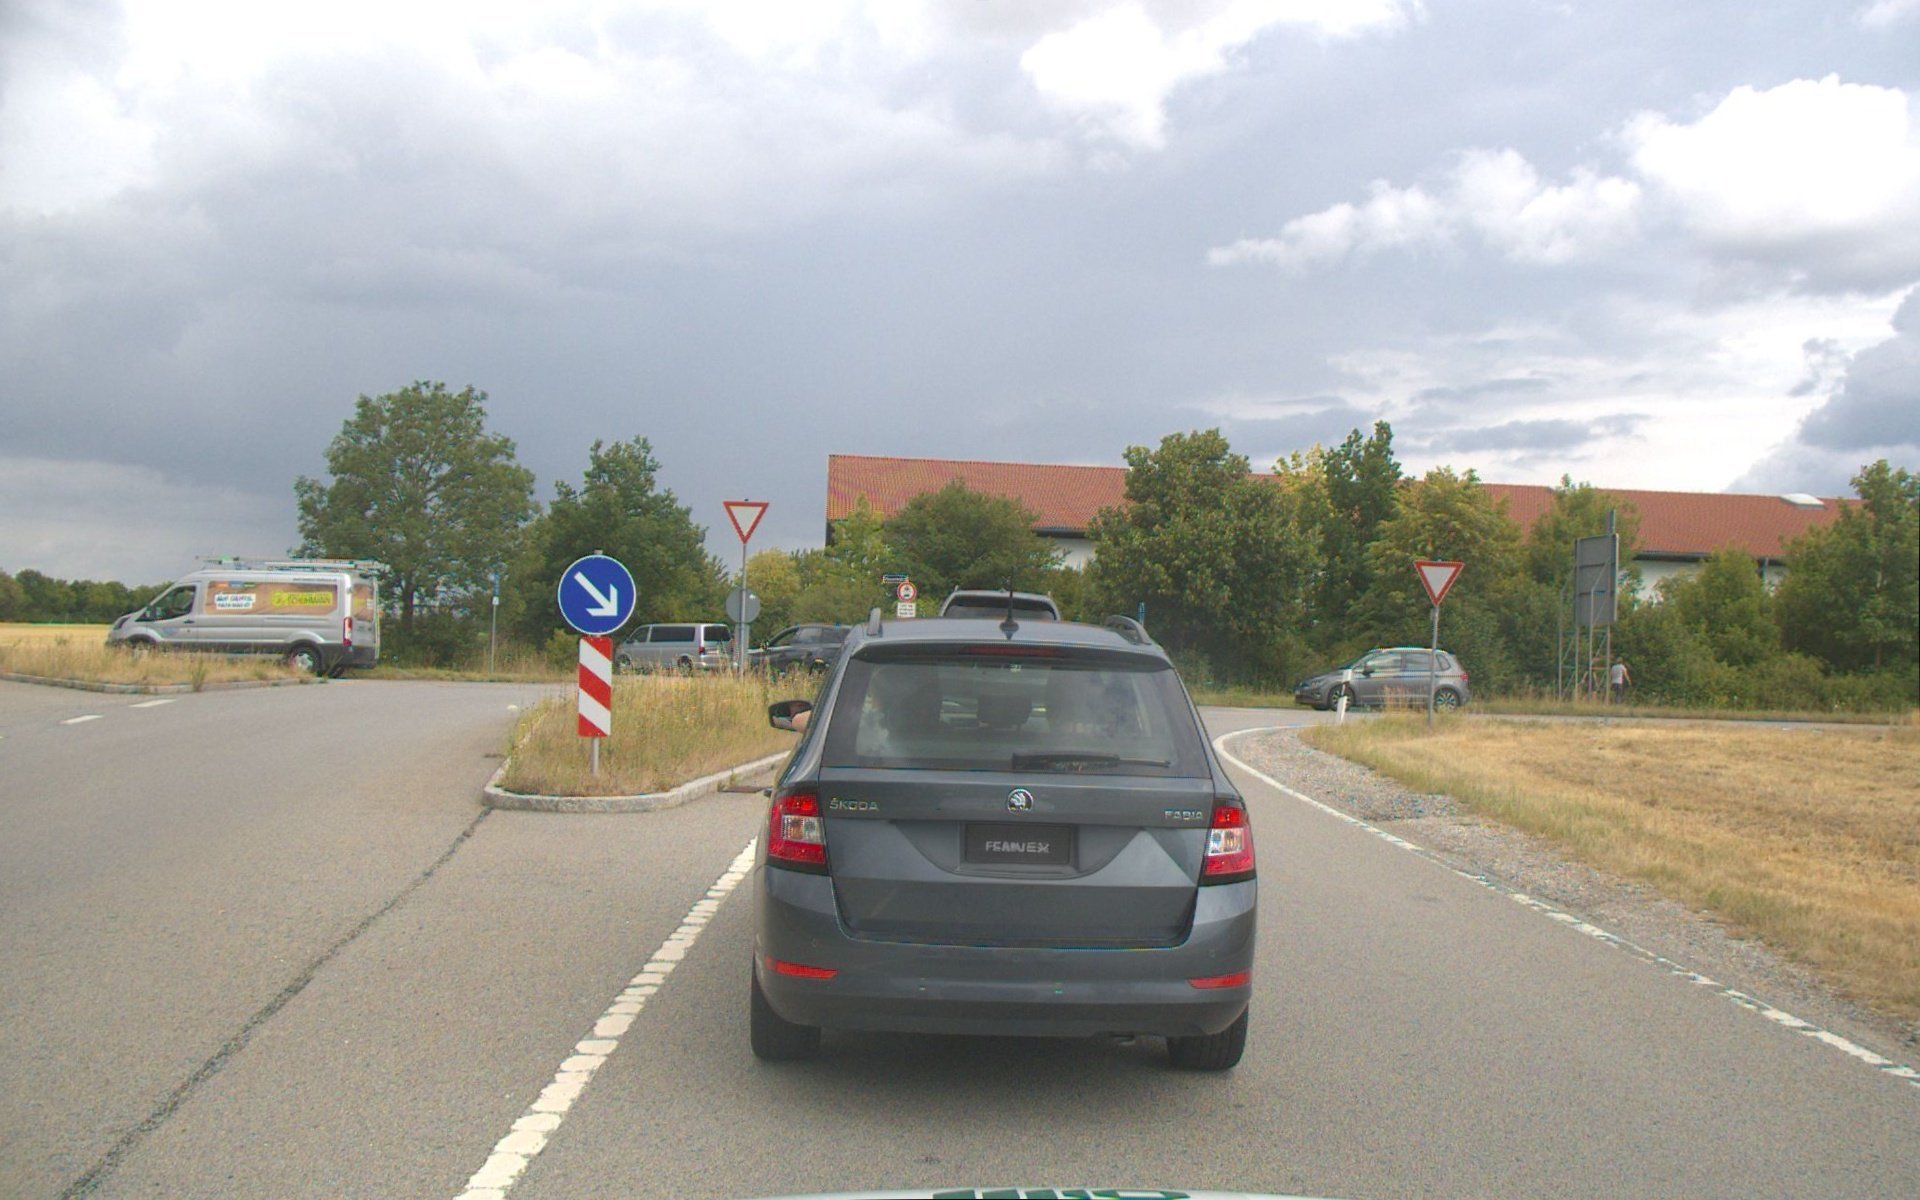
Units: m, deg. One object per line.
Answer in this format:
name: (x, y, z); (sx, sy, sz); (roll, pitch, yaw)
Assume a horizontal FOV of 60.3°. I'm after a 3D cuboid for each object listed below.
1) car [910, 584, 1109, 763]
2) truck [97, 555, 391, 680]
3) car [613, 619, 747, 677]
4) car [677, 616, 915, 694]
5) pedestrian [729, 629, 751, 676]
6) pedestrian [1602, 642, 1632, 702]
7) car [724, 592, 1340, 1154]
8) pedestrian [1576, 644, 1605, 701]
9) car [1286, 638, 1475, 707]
car: (0.454, 0.842, 19.643); (1.954, 1.806, 4.640); (2, -2, -3)
truck: (-16.704, 0.405, 38.839); (5.905, 2.750, 2.064); (1, 0, -4)
car: (-10.721, 1.814, 63.213); (4.814, 2.049, 2.334); (1, 0, 35)
car: (-3.158, 1.041, 32.017); (4.249, 1.368, 1.683); (1, -1, 15)
pedestrian: (-8.354, 1.989, 62.928); (0.519, 1.756, 0.640); (1, -1, 33)
pedestrian: (19.229, 2.109, 48.422); (0.614, 1.712, 0.529); (1, -1, -10)
car: (0.173, 0.753, 6.318); (1.642, 1.488, 3.707); (1, 0, -1)
pedestrian: (18.988, 2.178, 49.815); (0.614, 1.712, 0.529); (1, -1, -10)
car: (10.363, 1.781, 40.951); (4.126, 1.629, 1.999); (0, -1, -3)
